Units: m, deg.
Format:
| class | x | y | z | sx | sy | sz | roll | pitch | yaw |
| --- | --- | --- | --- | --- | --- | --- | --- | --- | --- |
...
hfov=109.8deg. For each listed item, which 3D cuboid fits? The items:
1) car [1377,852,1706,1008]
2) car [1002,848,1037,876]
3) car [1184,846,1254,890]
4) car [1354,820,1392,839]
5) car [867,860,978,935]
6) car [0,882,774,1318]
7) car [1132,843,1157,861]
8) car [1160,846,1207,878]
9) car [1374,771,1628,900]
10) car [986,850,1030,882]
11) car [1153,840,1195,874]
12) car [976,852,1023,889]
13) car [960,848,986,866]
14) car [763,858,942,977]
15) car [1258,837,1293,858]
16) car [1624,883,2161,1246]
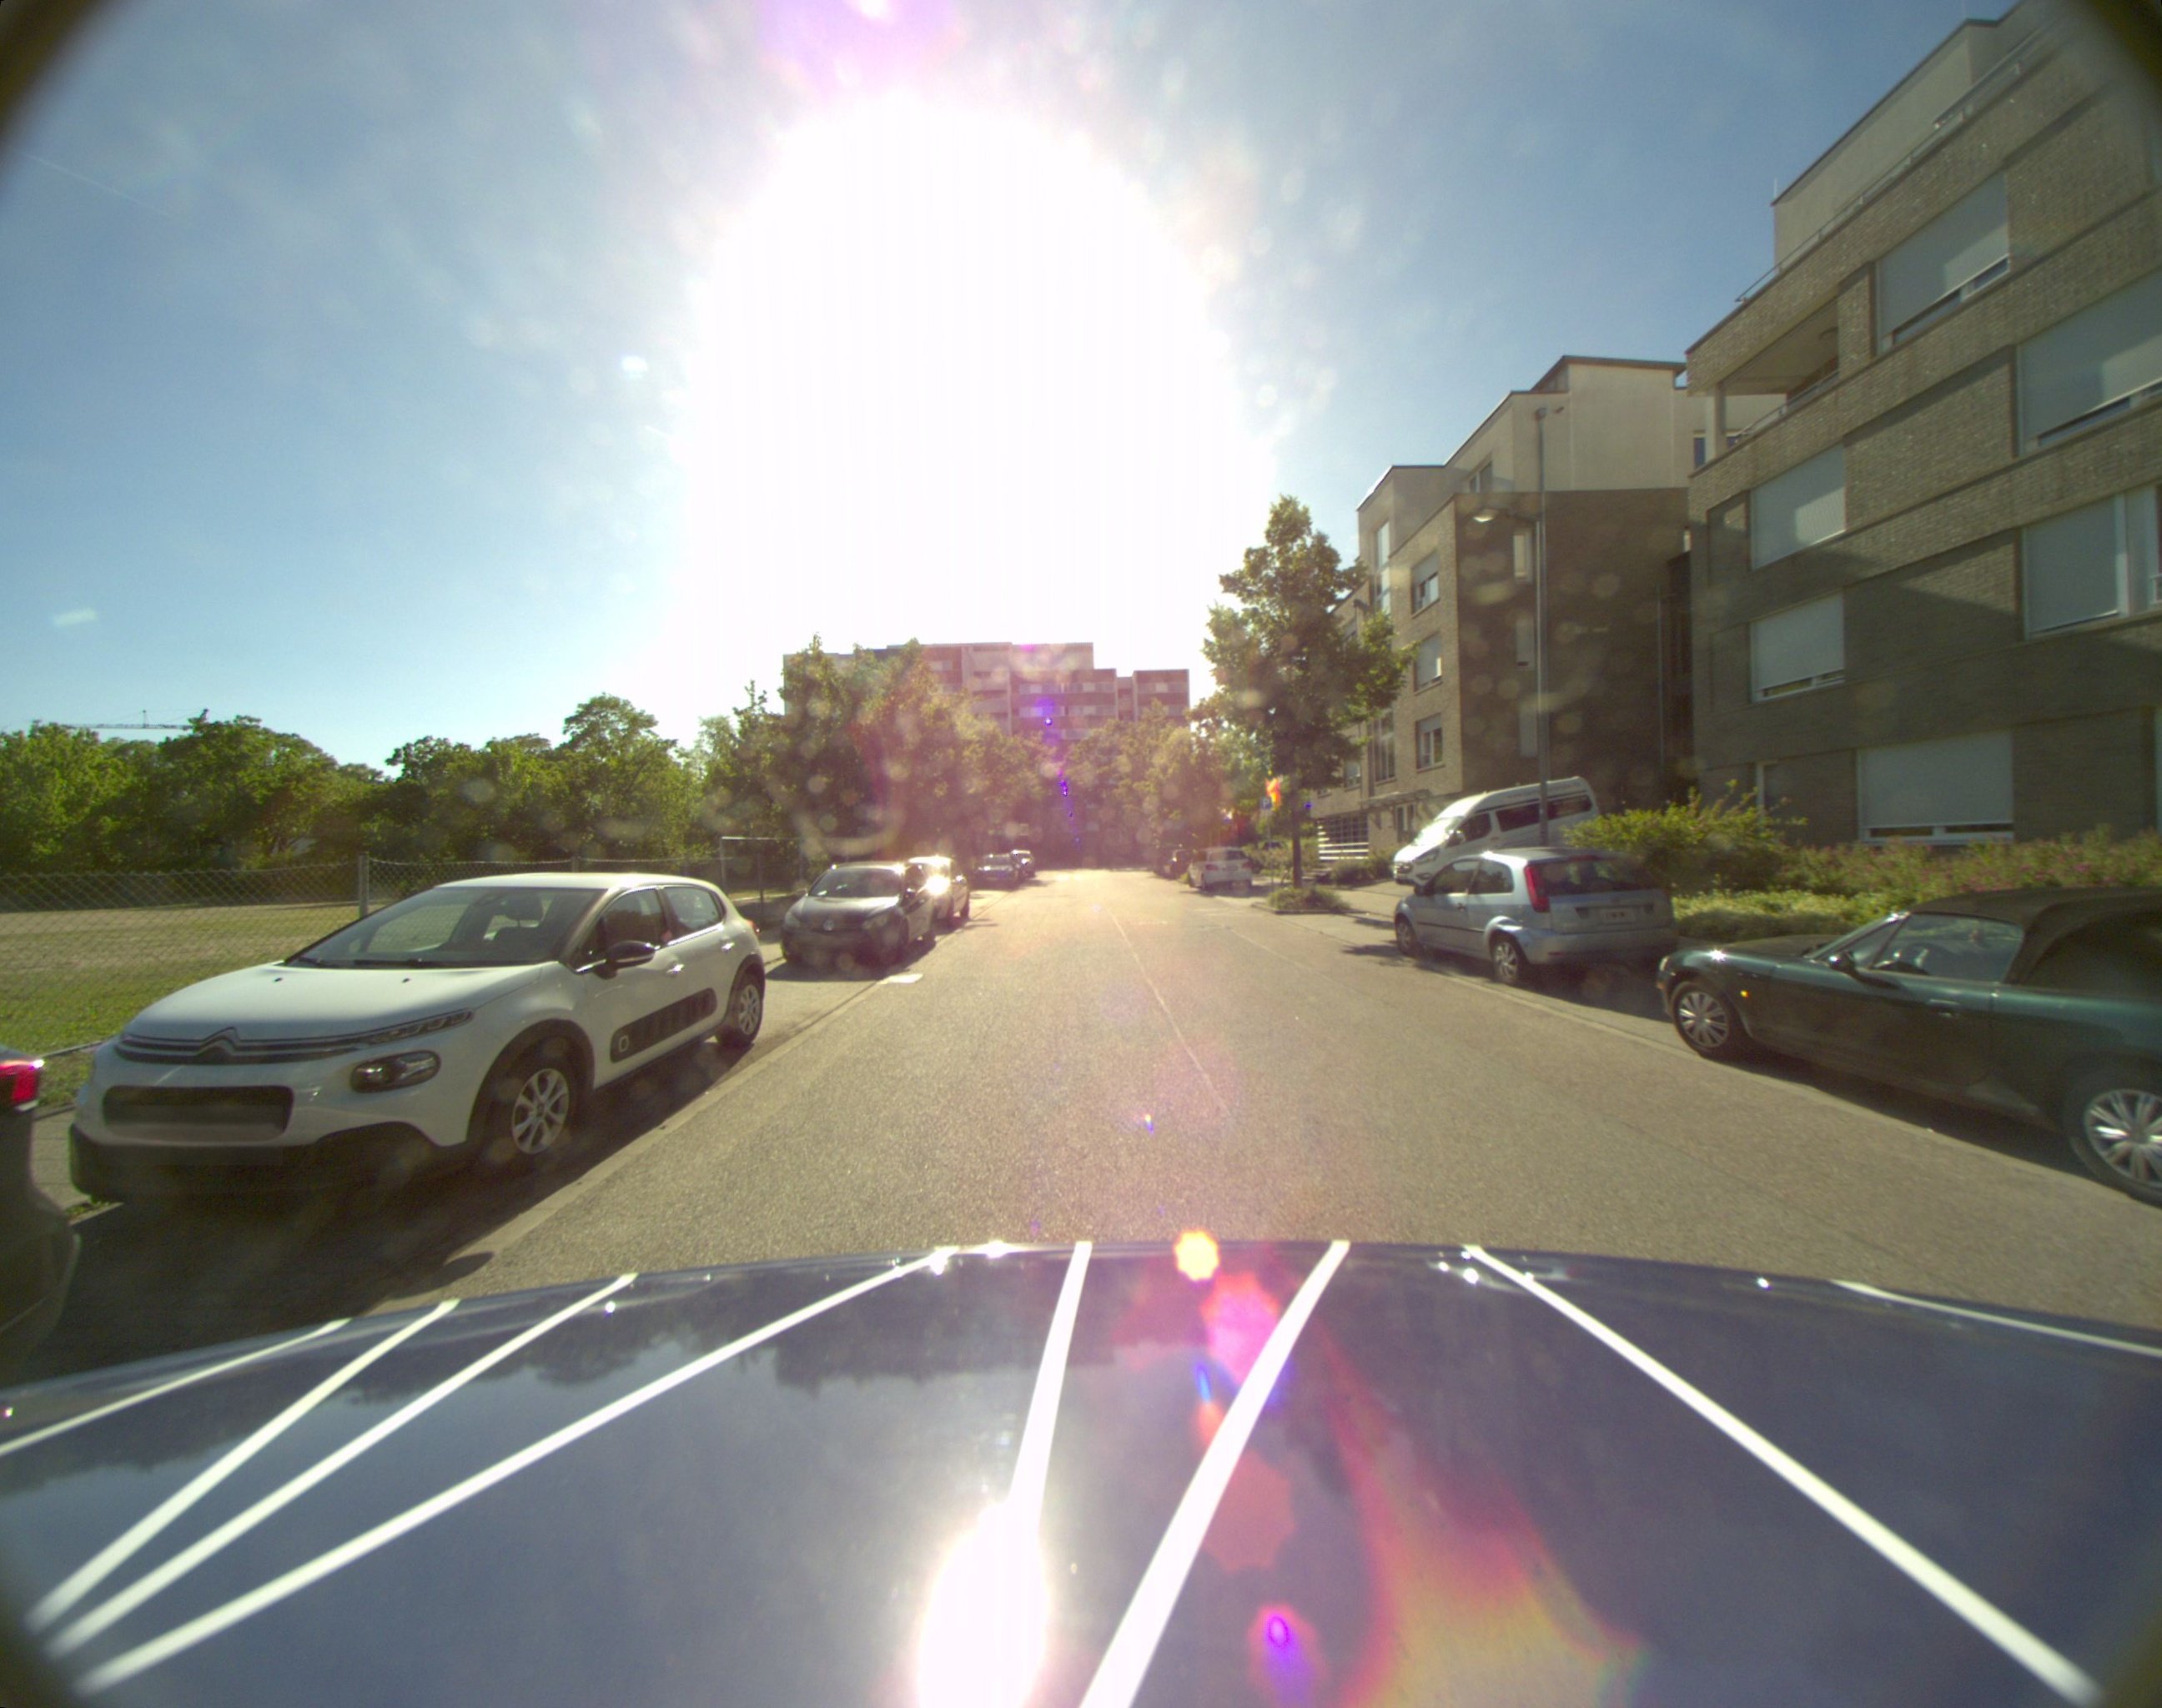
| class | x | y | z | sx | sy | sz | roll | pitch | yaw |
| --- | --- | --- | --- | --- | --- | --- | --- | --- | --- |
| car | 5.258 | 0.739 | 9.352 | 1.615 | 1.456 | 3.873 | -2 | 1 | -1 |
| car | -3.620 | 0.450 | 45.629 | 1.623 | 1.443 | 4.089 | -2 | 2 | 1 |
| car | 5.237 | 0.497 | 29.328 | 1.664 | 1.523 | 4.285 | -1 | 0 | -4 |
| car | 26.465 | -2.241 | 68.997 | 1.733 | 1.609 | 4.129 | -3 | 2 | -2 |
| car | -3.545 | 0.914 | 17.693 | 1.667 | 1.504 | 4.000 | -2 | -1 | 0 |
| car | -3.595 | 1.019 | 4.850 | 1.684 | 1.533 | 3.849 | -2 | -1 | 0 |
| car | 5.760 | -0.220 | 69.384 | 1.700 | 1.491 | 3.818 | -2 | 2 | -3 |
| car | 5.065 | 0.371 | 37.950 | 1.582 | 1.495 | 3.789 | -1 | 0 | -4 |
| car | 10.955 | -0.492 | 20.043 | 5.460 | 2.370 | 1.921 | -10 | 1 | -3 |
| car | -3.689 | 0.569 | 39.126 | 1.829 | 1.463 | 4.067 | -2 | 1 | 0 |
| car | 5.283 | 0.133 | 43.659 | 1.891 | 1.610 | 4.337 | -5 | 2 | 1 |
| car | -3.548 | 0.674 | 33.866 | 1.680 | 1.429 | 4.438 | -2 | 1 | -1 |
| car | -9.878 | 0.277 | 69.602 | 1.716 | 1.443 | 3.998 | -1 | 2 | 0 |
| car | -3.500 | 0.877 | 12.459 | 1.692 | 1.486 | 4.077 | -2 | 1 | -1 |
| car | 17.703 | -0.618 | 69.409 | 1.998 | 1.769 | 4.600 | -2 | 2 | 0 |
| car | 5.058 | 0.893 | 4.004 | 1.603 | 1.210 | 3.875 | -4 | 0 | 1 |
